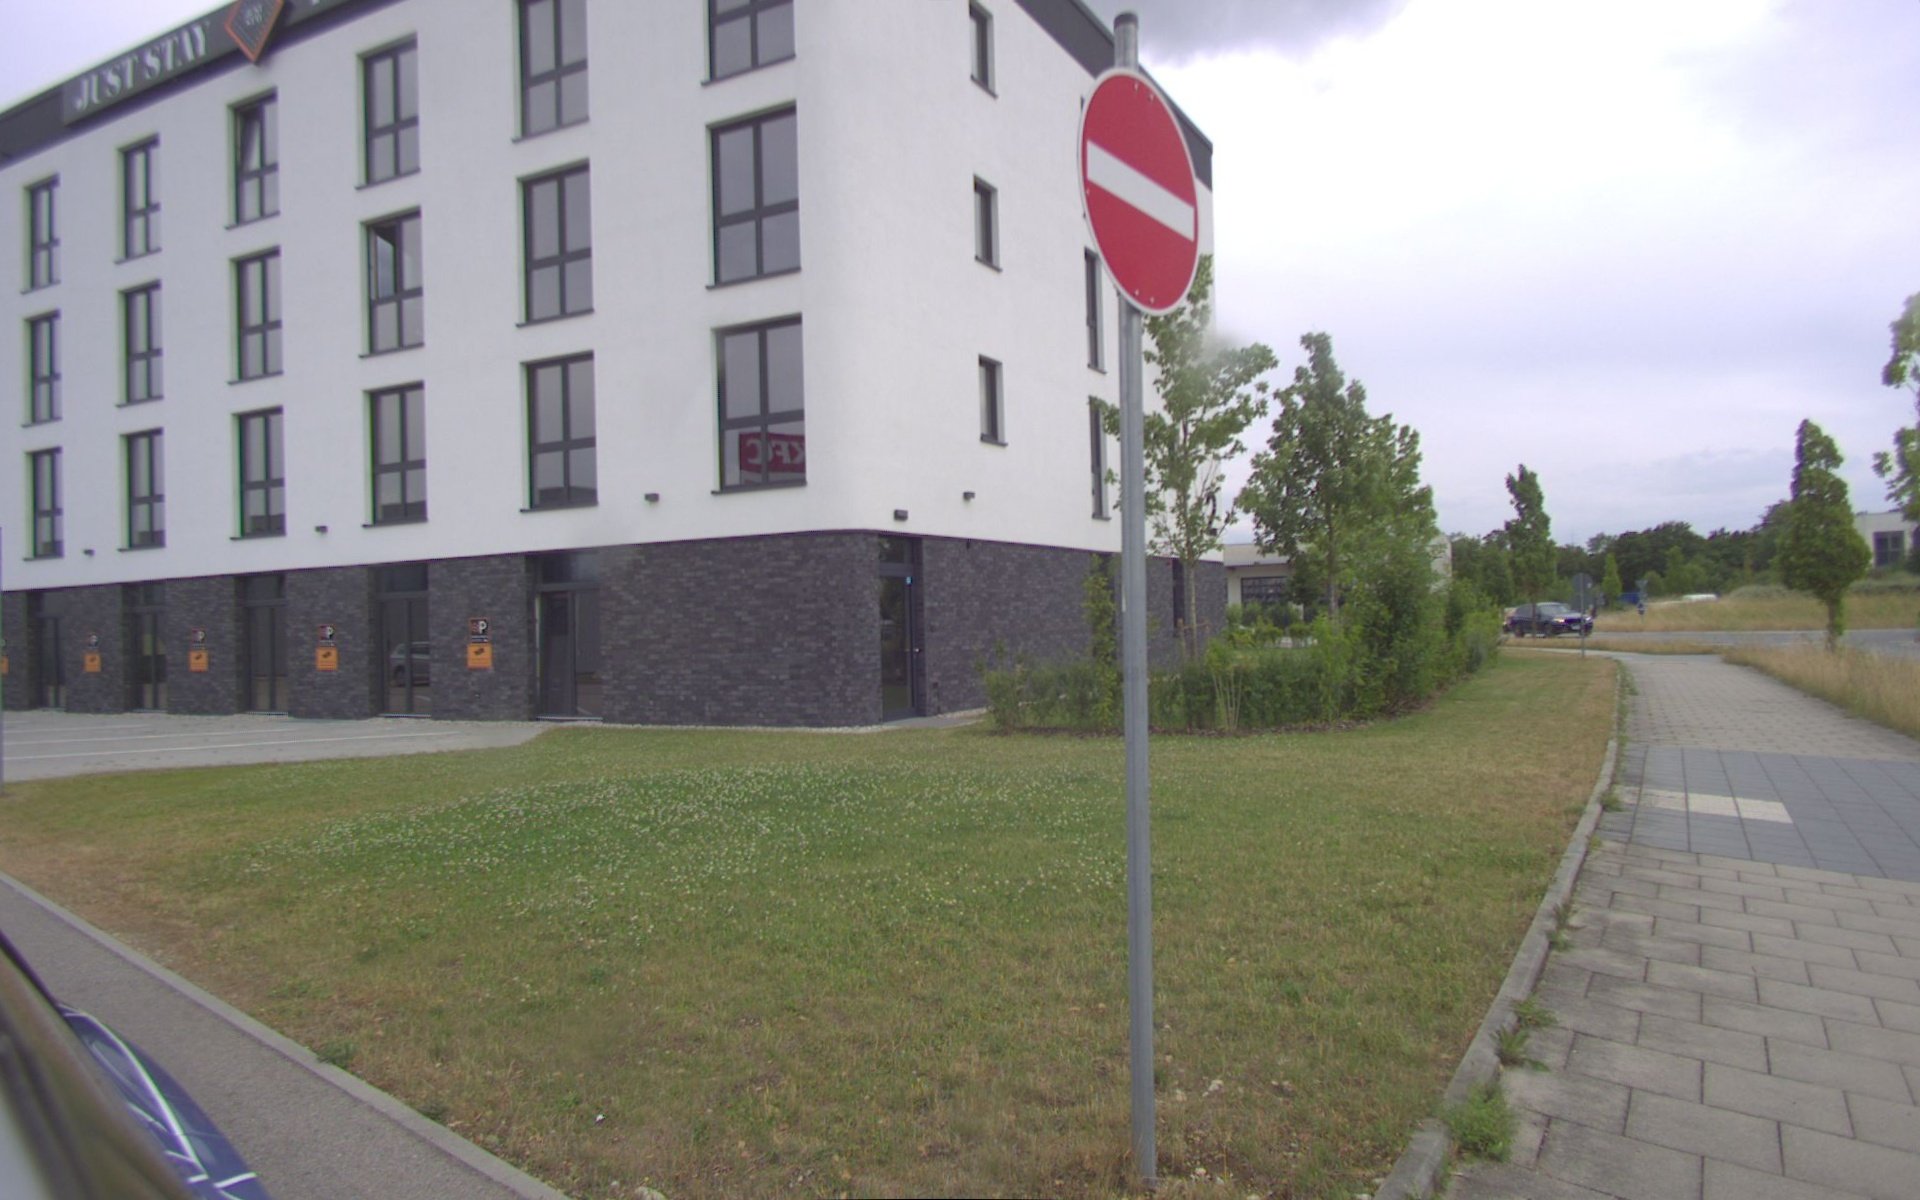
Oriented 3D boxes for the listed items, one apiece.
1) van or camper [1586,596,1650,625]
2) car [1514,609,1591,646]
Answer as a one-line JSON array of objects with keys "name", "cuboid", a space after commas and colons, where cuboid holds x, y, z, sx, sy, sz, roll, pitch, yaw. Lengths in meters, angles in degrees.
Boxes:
[{"name": "van or camper", "cuboid": [47.036, 0.728, 72.312, 4.760, 1.905, 1.989, -1, -2, -33]}, {"name": "car", "cuboid": [28.233, 1.290, 48.345, 1.875, 1.652, 3.985, -2, -1, 11]}]
